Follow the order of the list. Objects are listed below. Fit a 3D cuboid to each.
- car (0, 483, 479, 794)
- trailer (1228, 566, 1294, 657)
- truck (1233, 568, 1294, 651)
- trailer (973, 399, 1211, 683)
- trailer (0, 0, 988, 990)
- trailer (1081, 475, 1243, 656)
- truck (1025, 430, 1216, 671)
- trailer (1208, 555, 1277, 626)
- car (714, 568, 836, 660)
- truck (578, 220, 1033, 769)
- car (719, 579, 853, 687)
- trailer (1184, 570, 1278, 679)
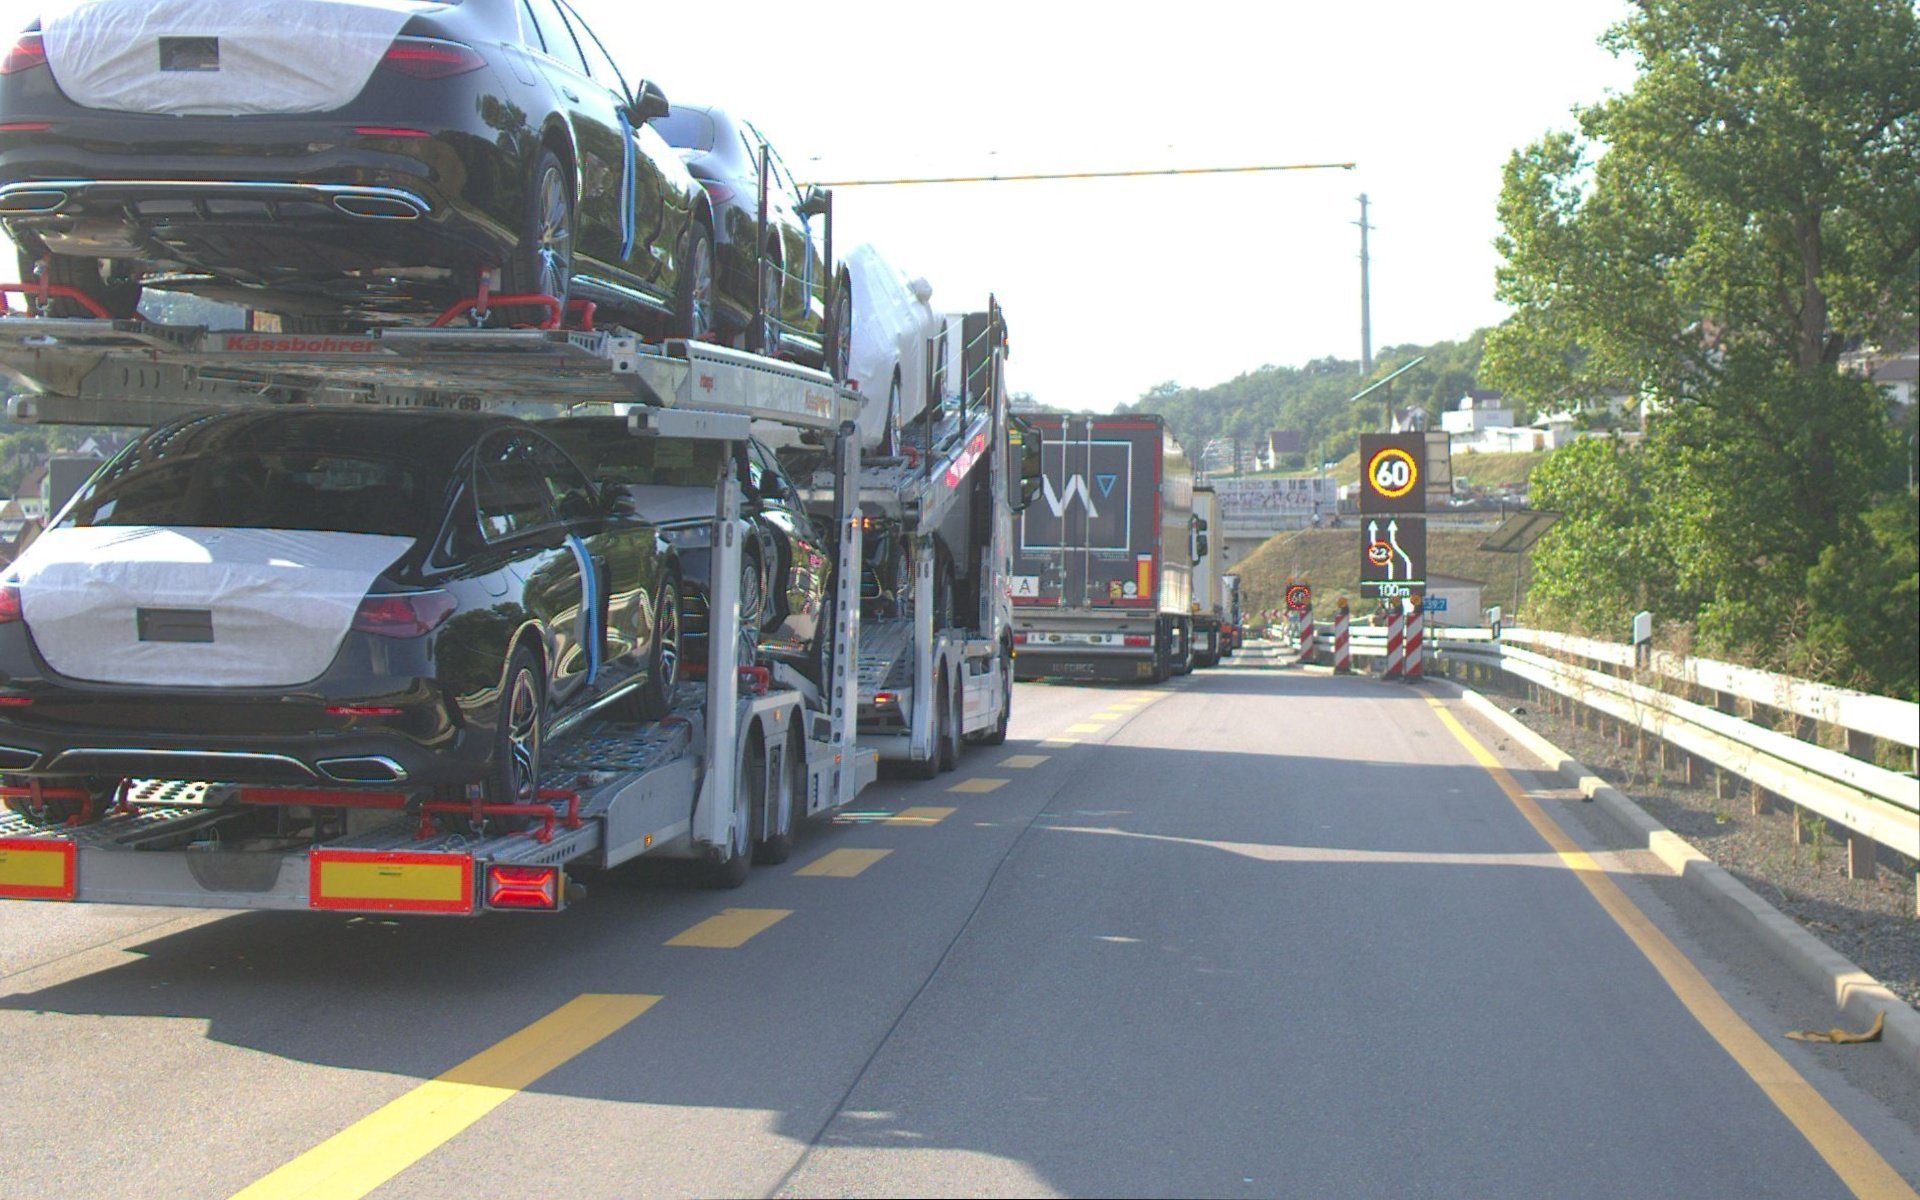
[{"bbox_3d":[-5.114,0.219,24.871,2.029,1.974,4.978,2,1,6],"label":"car"},{"bbox_3d":[15.028,0.532,170.951,3.104,4.299,14.249,0,0,5],"label":"trailer"},{"bbox_3d":[15.860,0.476,179.661,3.098,4.271,6.623,0,0,5],"label":"truck"},{"bbox_3d":[2.314,-0.873,55.560,2.959,4.078,10.790,-1,0,7],"label":"trailer"},{"bbox_3d":[-1.950,-0.739,19.174,2.857,3.983,15.743,0,0,5],"label":"trailer"},{"bbox_3d":[5.076,-0.788,83.337,3.385,3.983,14.742,0,0,5],"label":"trailer"},{"bbox_3d":[2.902,-0.822,60.314,2.885,3.983,6.623,0,0,7],"label":"truck"},{"bbox_3d":[17.758,-0.606,214.986,4.098,4.299,14.249,0,0,5],"label":"trailer"},{"bbox_3d":[-3.470,0.252,65.077,1.830,1.648,3.999,-2,0,3],"label":"car"},{"bbox_3d":[-1.066,-0.768,28.382,2.849,3.983,6.623,0,0,5],"label":"truck"},{"bbox_3d":[-2.970,0.548,59.442,1.830,1.746,3.999,-2,0,3],"label":"car"},{"bbox_3d":[10.636,0.863,133.508,3.385,3.983,14.742,0,0,5],"label":"trailer"}]
